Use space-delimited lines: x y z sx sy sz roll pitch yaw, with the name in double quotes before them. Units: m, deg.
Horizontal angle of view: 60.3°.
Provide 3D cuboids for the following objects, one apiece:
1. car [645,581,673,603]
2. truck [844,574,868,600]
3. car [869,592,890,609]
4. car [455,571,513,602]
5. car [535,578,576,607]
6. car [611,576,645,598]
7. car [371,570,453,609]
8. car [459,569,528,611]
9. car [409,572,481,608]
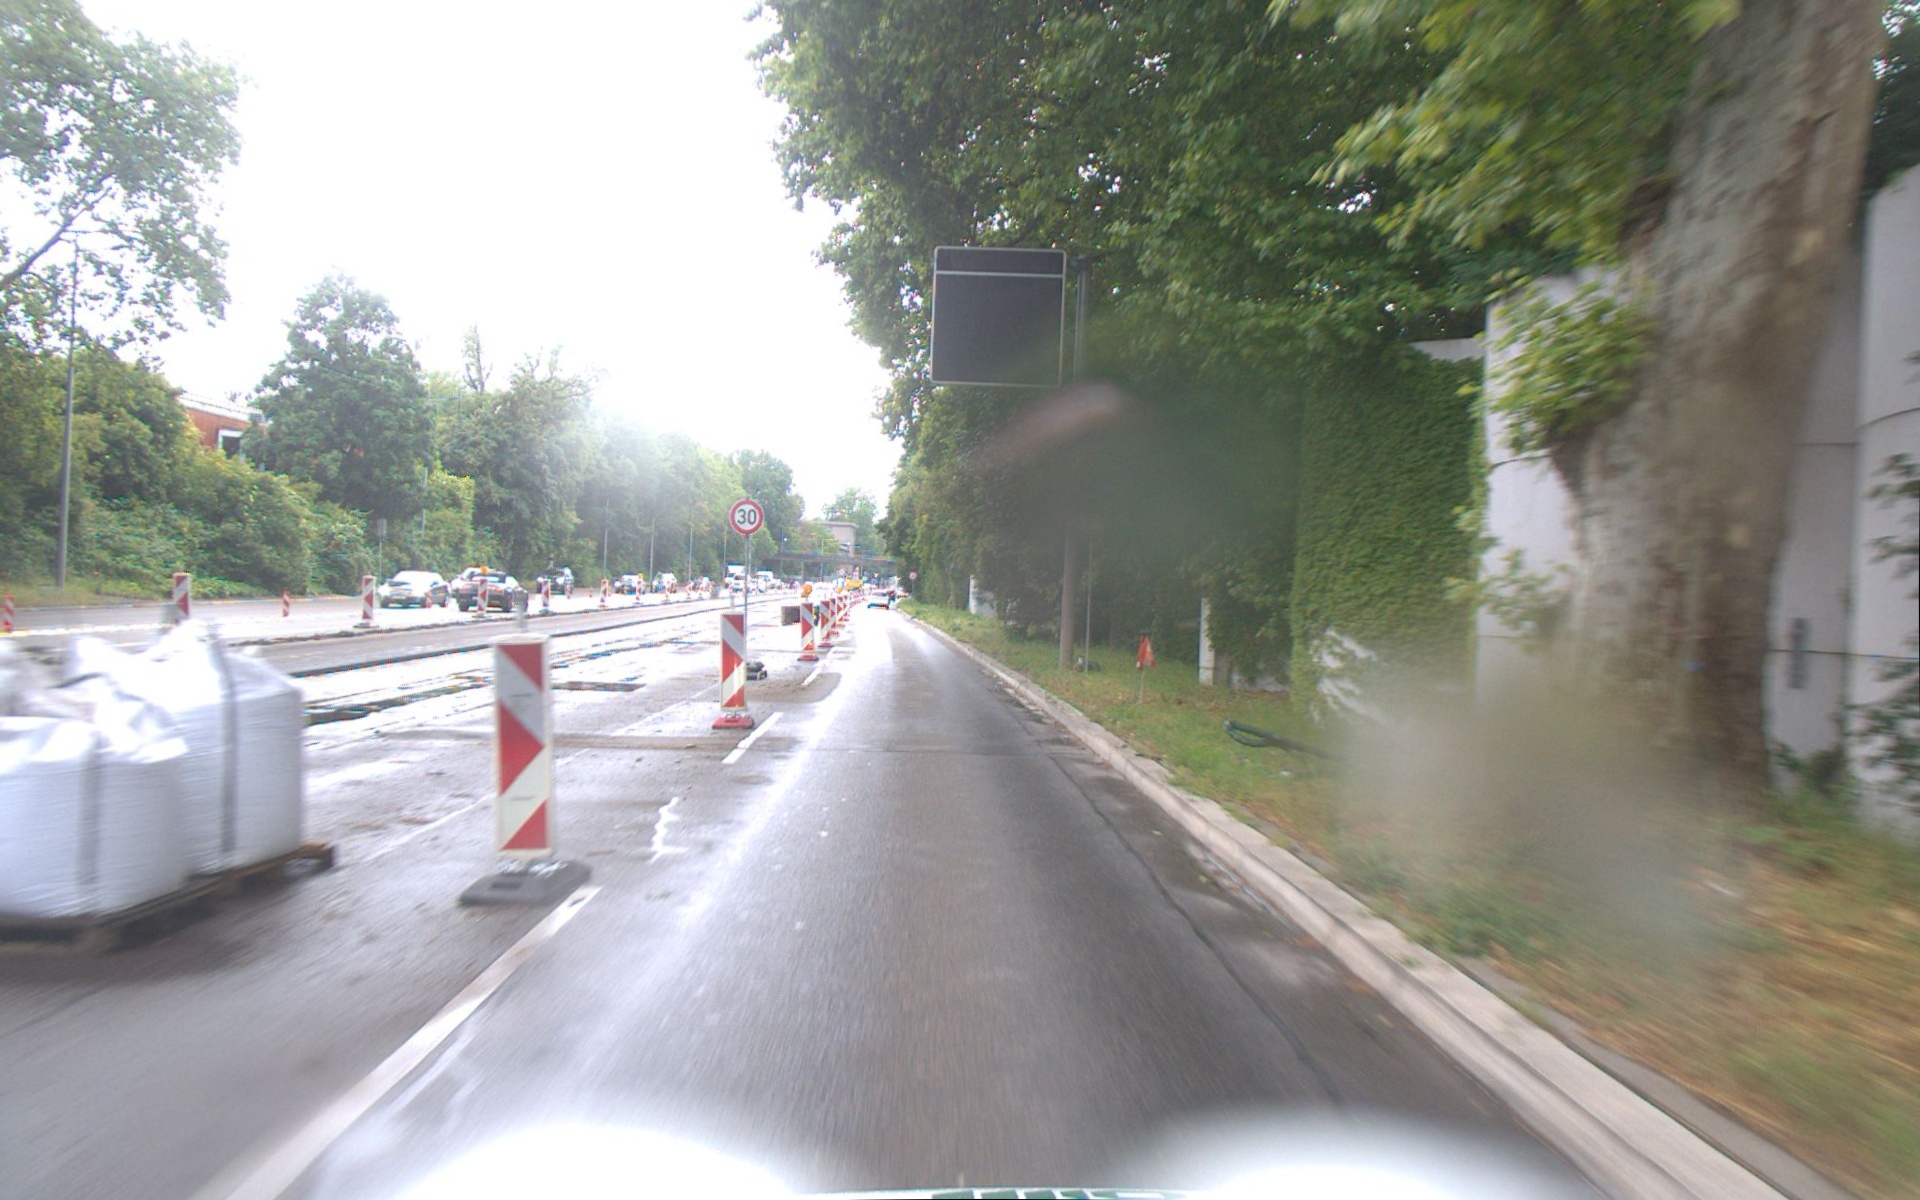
"car" -25.377 -0.666 139.583 1.700 1.752 4.490 3 0 -4
"truck" -15.506 -1.961 247.264 3.195 3.558 13.861 3 0 -3
"car" -6.609 0.072 136.232 1.663 1.359 3.489 1 0 -3
"car" -24.198 -0.671 84.200 1.782 1.444 4.600 3 0 -3
"car" -25.768 -0.467 105.540 1.620 1.714 4.530 3 0 -3
"car" -24.515 -0.943 122.279 1.725 1.509 4.896 2 0 -4
"car" -20.313 -0.402 61.495 1.782 1.379 4.387 1 0 -3
"car" -17.319 -0.374 61.588 1.576 1.429 4.038 3 0 -3
"car" -20.911 -0.398 67.317 1.782 1.379 4.202 1 0 -3
